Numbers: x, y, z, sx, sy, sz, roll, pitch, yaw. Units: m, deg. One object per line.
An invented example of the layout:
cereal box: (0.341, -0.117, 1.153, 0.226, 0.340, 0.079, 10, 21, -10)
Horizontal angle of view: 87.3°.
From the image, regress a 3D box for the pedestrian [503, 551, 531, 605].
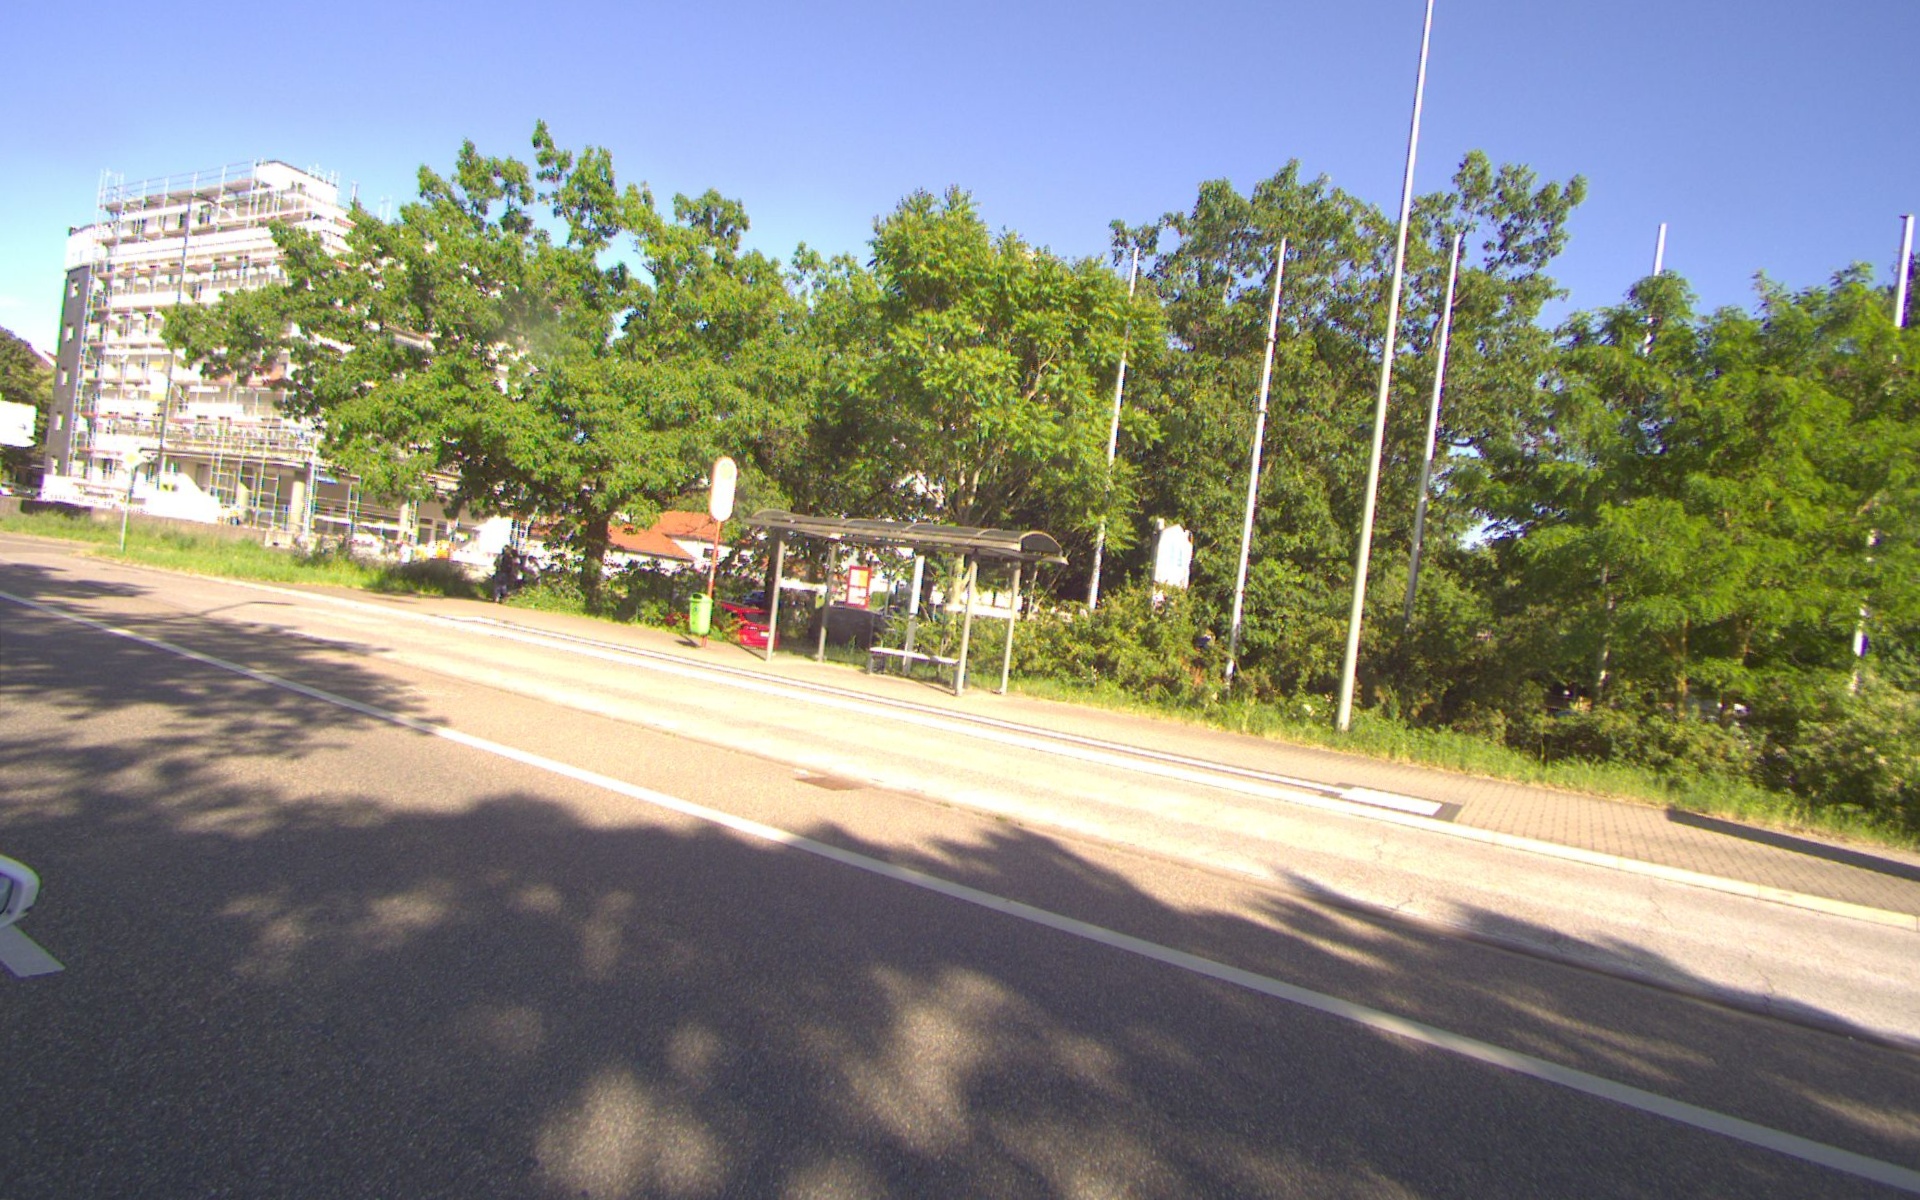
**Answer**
pedestrian: (-12.769, -0.631, 28.997, 0.517, 1.465, 0.587, 7, 1, -32)

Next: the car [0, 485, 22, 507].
car: (-66.547, -7.274, 69.998, 1.521, 1.330, 3.250, 7, 0, -40)

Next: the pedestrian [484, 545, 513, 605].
pedestrian: (-13.023, -0.704, 28.362, 0.517, 1.632, 0.587, 7, 1, -32)

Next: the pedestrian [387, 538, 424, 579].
pedestrian: (-25.010, -1.858, 45.361, 0.969, 1.674, 0.891, 7, 0, 2)

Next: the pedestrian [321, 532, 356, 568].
pedestrian: (-28.391, -2.278, 45.958, 0.949, 1.465, 0.894, 7, 0, -8)

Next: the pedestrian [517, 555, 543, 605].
pedestrian: (-13.401, -0.633, 31.330, 0.517, 1.465, 0.587, 7, 1, -32)

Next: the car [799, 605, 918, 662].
car: (-3.589, 1.205, 35.982, 3.674, 1.504, 1.914, 7, 0, 13)

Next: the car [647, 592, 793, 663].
car: (-6.873, 0.794, 28.748, 3.680, 1.504, 1.755, 7, 0, 28)
